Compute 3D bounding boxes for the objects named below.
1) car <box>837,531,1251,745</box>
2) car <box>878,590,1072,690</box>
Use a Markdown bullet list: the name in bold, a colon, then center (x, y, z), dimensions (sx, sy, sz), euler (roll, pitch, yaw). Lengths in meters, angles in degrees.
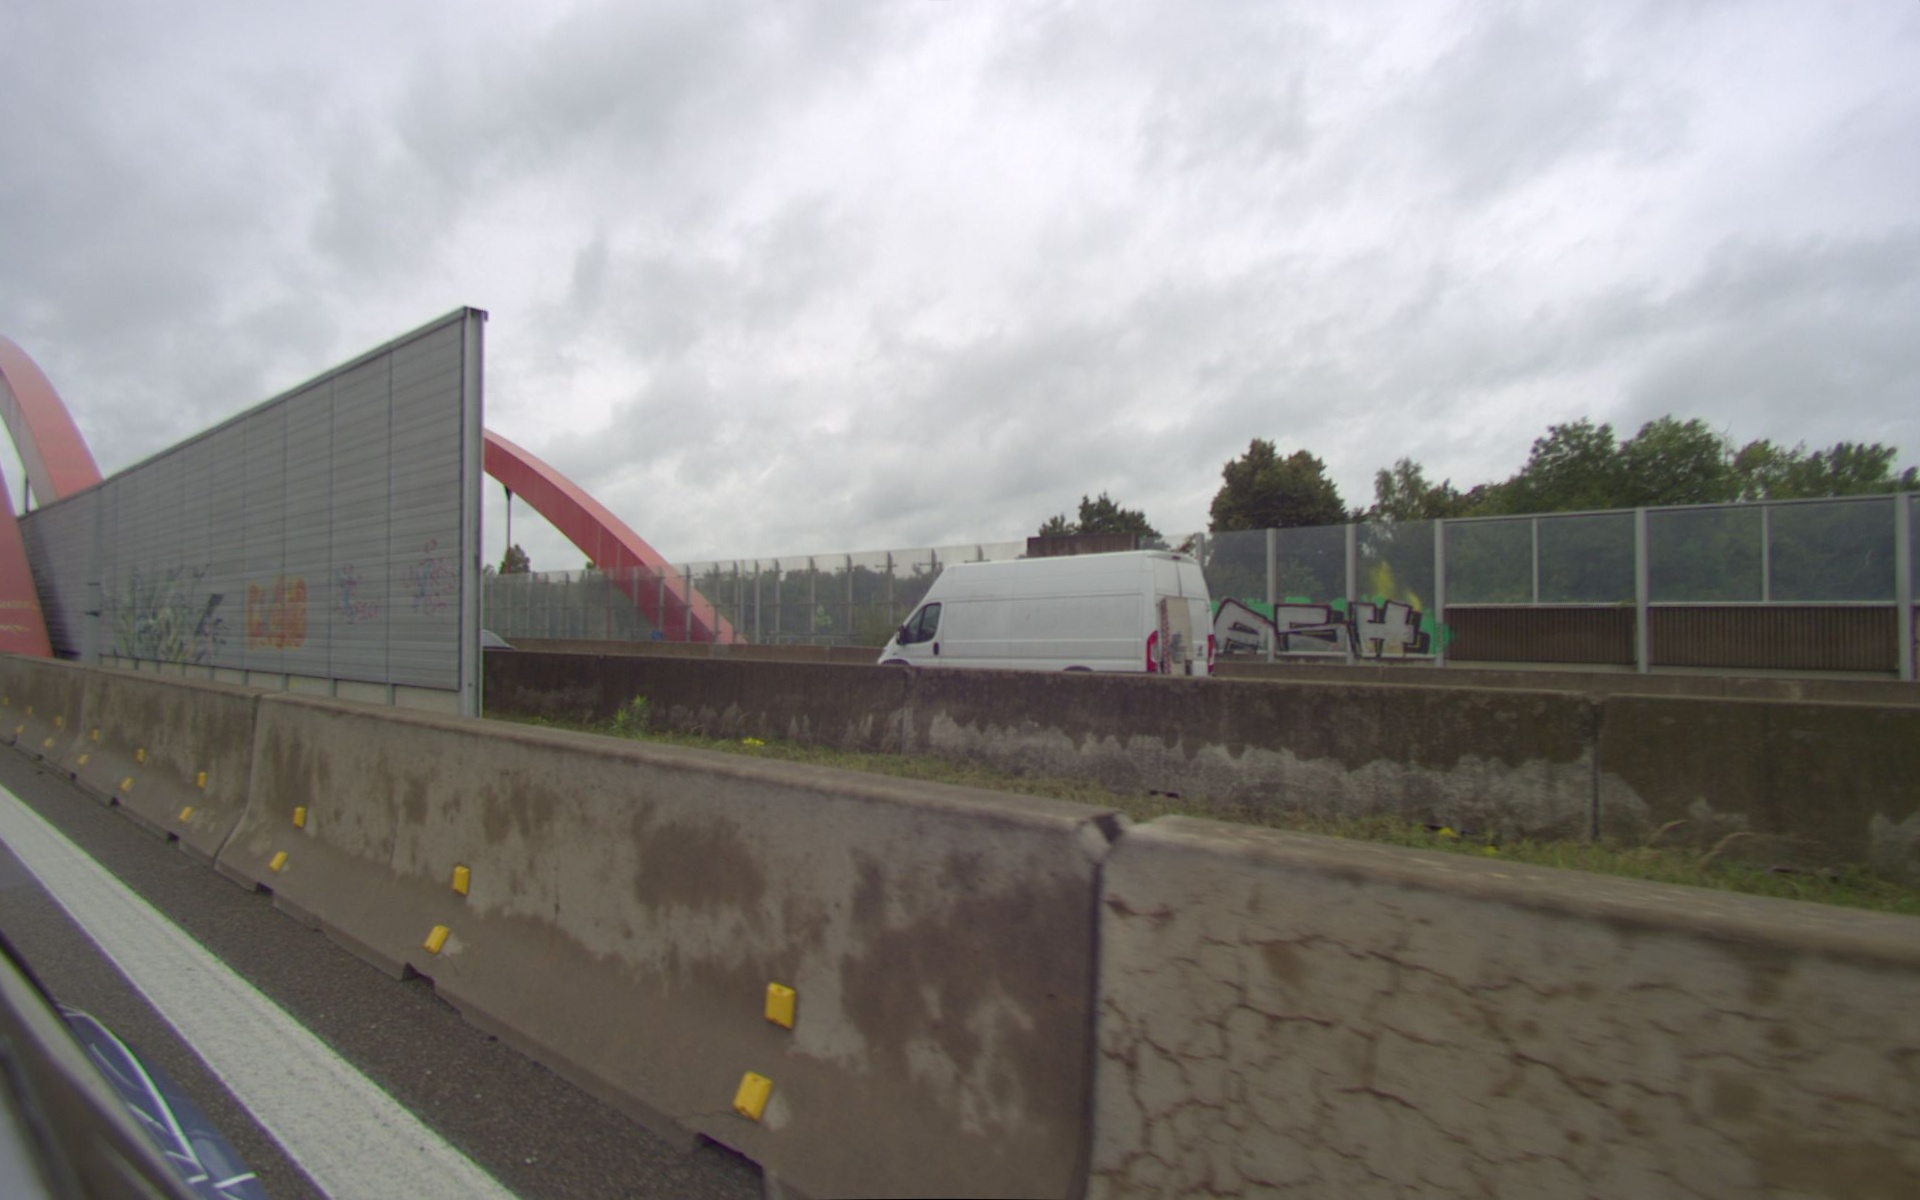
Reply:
- **car**: center (1.158, 0.385, 17.483), dimensions (7.071, 3.008, 2.196), euler (4, 3, 39)
- **car**: center (0.290, 0.839, 22.703), dimensions (3.997, 2.029, 1.973), euler (-1, 0, 40)
